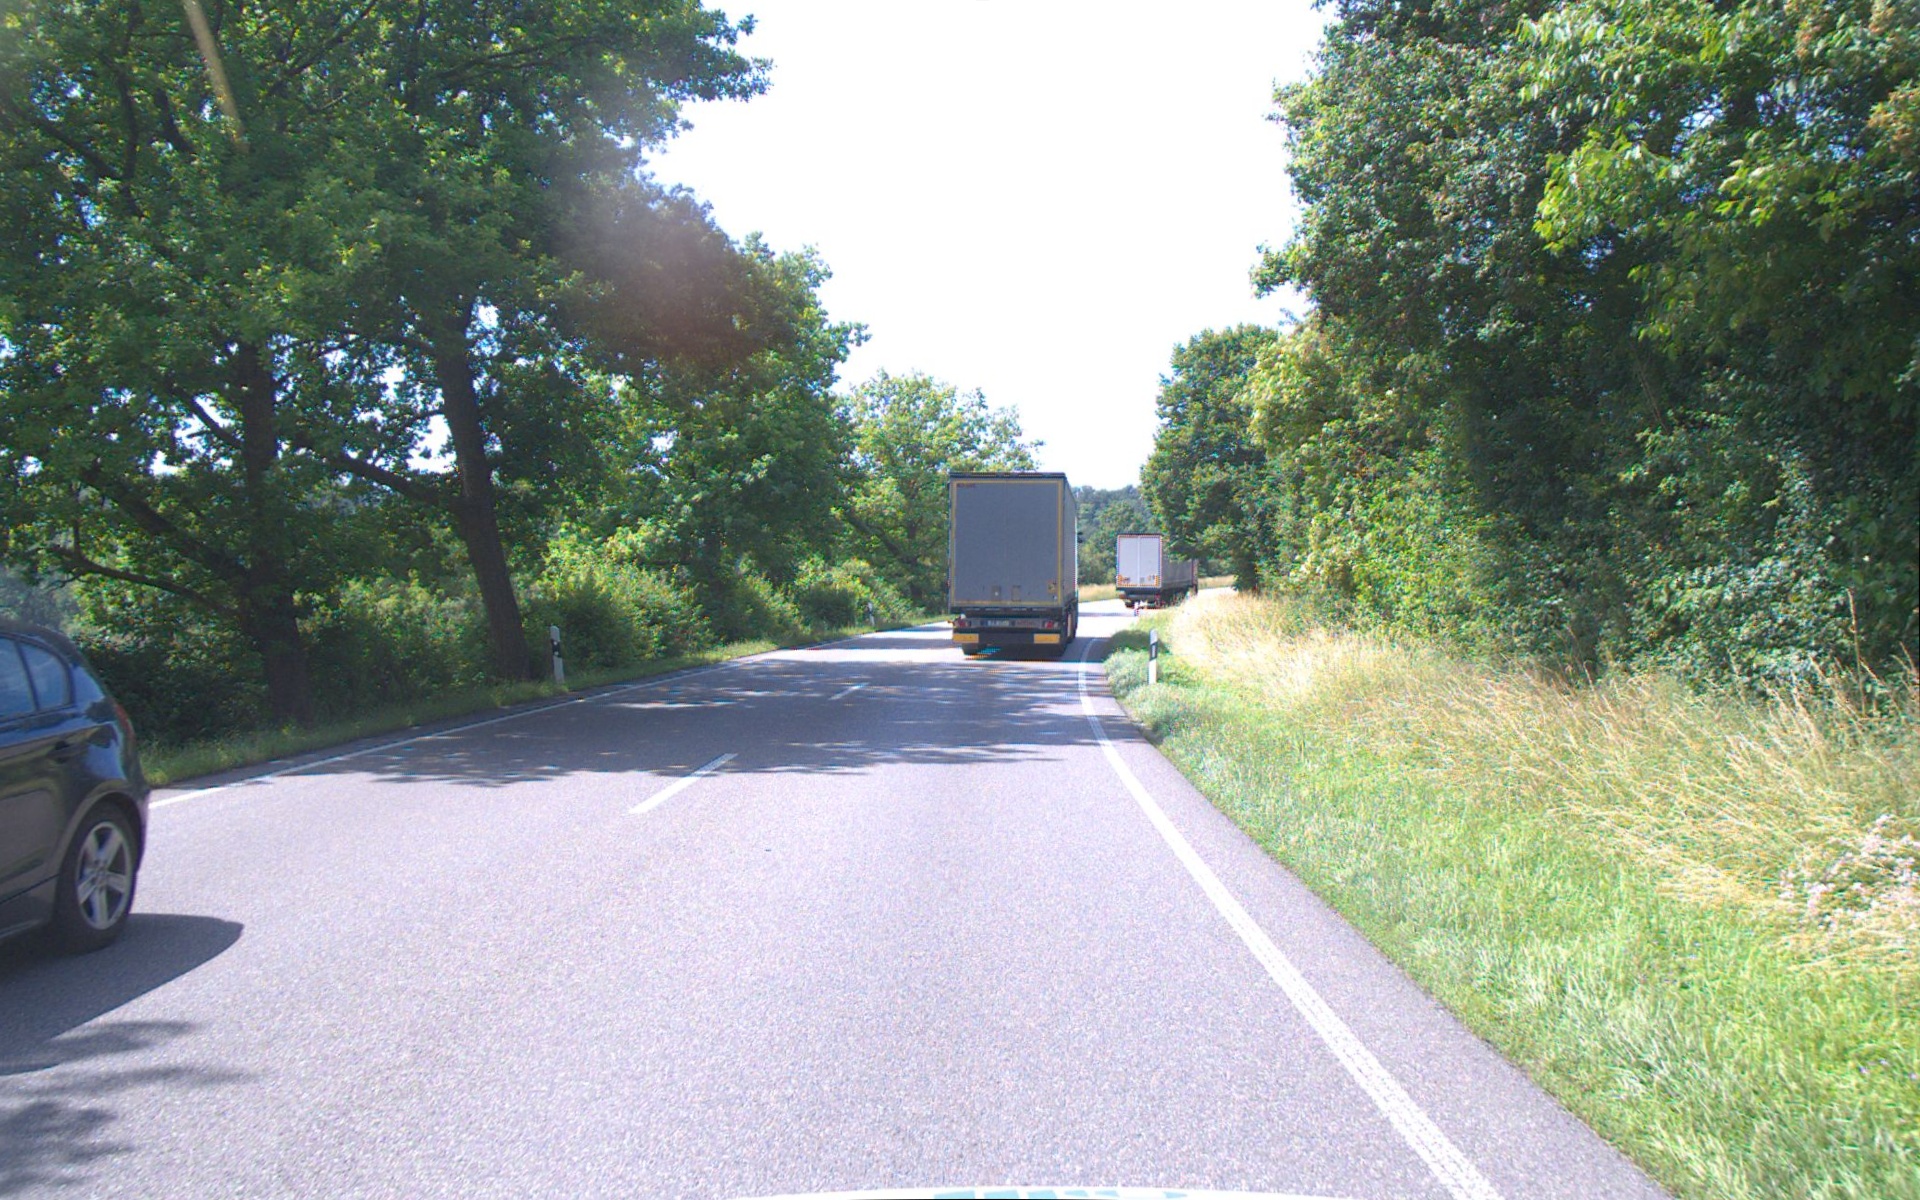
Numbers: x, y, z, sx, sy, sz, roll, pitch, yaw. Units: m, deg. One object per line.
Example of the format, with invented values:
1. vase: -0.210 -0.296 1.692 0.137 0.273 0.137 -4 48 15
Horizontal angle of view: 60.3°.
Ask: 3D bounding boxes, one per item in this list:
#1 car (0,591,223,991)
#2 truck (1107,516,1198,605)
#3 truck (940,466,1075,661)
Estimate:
1. car: -4.357 0.701 5.707 1.722 1.457 4.269 0 0 0
2. truck: 11.552 -2.281 97.380 3.039 4.787 16.603 -1 1 15
3. truck: 1.543 -0.913 43.036 2.743 4.139 15.335 1 1 4
